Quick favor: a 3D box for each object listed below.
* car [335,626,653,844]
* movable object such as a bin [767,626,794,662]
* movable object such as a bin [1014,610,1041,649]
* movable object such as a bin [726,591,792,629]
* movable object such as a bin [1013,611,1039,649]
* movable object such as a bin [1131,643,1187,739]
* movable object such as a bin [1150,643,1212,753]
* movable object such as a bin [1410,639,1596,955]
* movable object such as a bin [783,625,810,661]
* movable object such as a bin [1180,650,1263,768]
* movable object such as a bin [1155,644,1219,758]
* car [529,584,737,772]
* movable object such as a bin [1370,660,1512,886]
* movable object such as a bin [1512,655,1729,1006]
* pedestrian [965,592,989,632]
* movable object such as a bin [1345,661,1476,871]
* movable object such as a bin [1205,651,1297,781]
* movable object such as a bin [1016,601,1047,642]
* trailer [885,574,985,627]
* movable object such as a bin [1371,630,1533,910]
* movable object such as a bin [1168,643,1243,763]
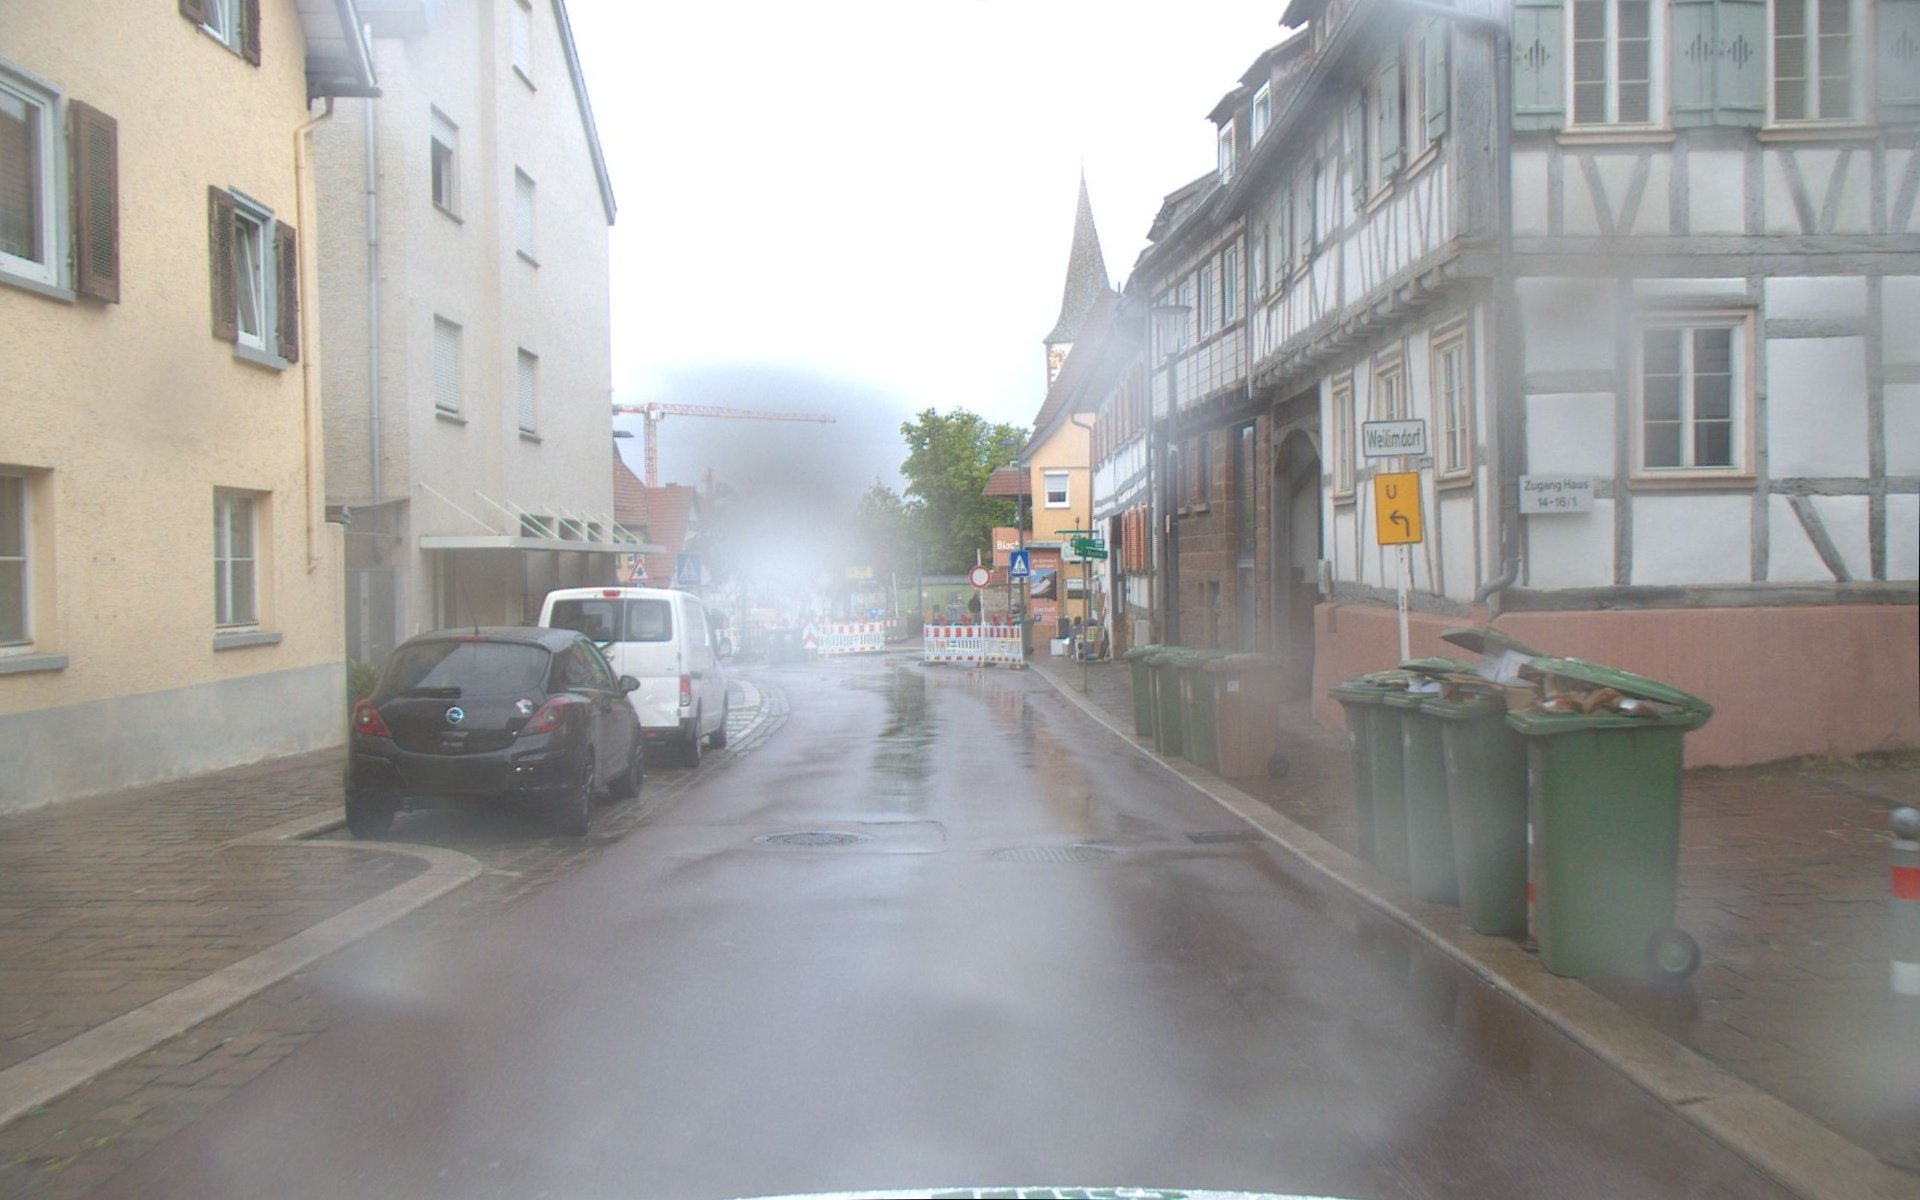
[{"bbox_3d":[-3.465,0.928,12.969,1.648,1.413,3.822,0,-1,-4],"label":"car"},{"bbox_3d":[-5.376,1.329,49.635,0.530,1.055,0.571,-3,-2,32],"label":"movable object such as a bin"},{"bbox_3d":[1.950,0.844,47.752,0.666,1.084,0.539,-3,0,-9],"label":"movable object such as a bin"},{"bbox_3d":[-11.443,0.578,94.448,3.332,2.049,3.478,-1,-1,0],"label":"movable object such as a bin"},{"bbox_3d":[1.917,0.883,48.299,0.603,1.084,0.540,-3,-1,15],"label":"movable object such as a bin"},{"bbox_3d":[2.436,1.105,20.330,0.597,1.147,0.599,0,-1,-1],"label":"movable object such as a bin"},{"bbox_3d":[2.401,1.055,18.026,0.624,1.167,0.580,-1,-1,4],"label":"movable object such as a bin"},{"bbox_3d":[2.365,0.836,7.266,0.624,1.313,0.632,-1,-1,4],"label":"movable object such as a bin"},{"bbox_3d":[-4.871,1.283,49.324,0.533,1.051,0.533,-4,-2,32],"label":"movable object such as a bin"},{"bbox_3d":[2.538,1.047,16.078,0.656,1.100,0.587,-2,-1,-3],"label":"movable object such as a bin"},{"bbox_3d":[2.381,1.054,17.396,0.624,1.167,0.604,-1,-1,4],"label":"movable object such as a bin"},{"bbox_3d":[-3.572,0.799,18.764,1.689,1.857,4.425,0,-1,-3],"label":"car"},{"bbox_3d":[2.574,0.912,8.900,0.603,1.151,0.632,-1,-1,5],"label":"movable object such as a bin"},{"bbox_3d":[2.616,0.888,6.607,0.624,1.313,0.632,-1,-1,4],"label":"movable object such as a bin"},{"bbox_3d":[0.787,0.556,76.568,0.971,1.789,0.850,0,-1,-7],"label":"pedestrian"},{"bbox_3d":[2.590,0.940,9.562,0.603,1.151,0.632,-1,-1,4],"label":"movable object such as a bin"},{"bbox_3d":[2.594,1.019,14.789,0.665,1.116,0.650,0,0,-5],"label":"movable object such as a bin"},{"bbox_3d":[2.867,0.854,66.043,1.043,1.539,1.243,-4,0,6],"label":"movable object such as a bin"},{"bbox_3d":[-1.487,0.034,96.386,5.670,2.999,1.997,0,-1,-6],"label":"trailer"},{"bbox_3d":[2.397,0.807,8.121,0.624,1.313,0.632,-1,-1,4],"label":"movable object such as a bin"},{"bbox_3d":[2.479,1.030,16.733,0.625,1.167,0.631,0,-1,-3],"label":"movable object such as a bin"}]
